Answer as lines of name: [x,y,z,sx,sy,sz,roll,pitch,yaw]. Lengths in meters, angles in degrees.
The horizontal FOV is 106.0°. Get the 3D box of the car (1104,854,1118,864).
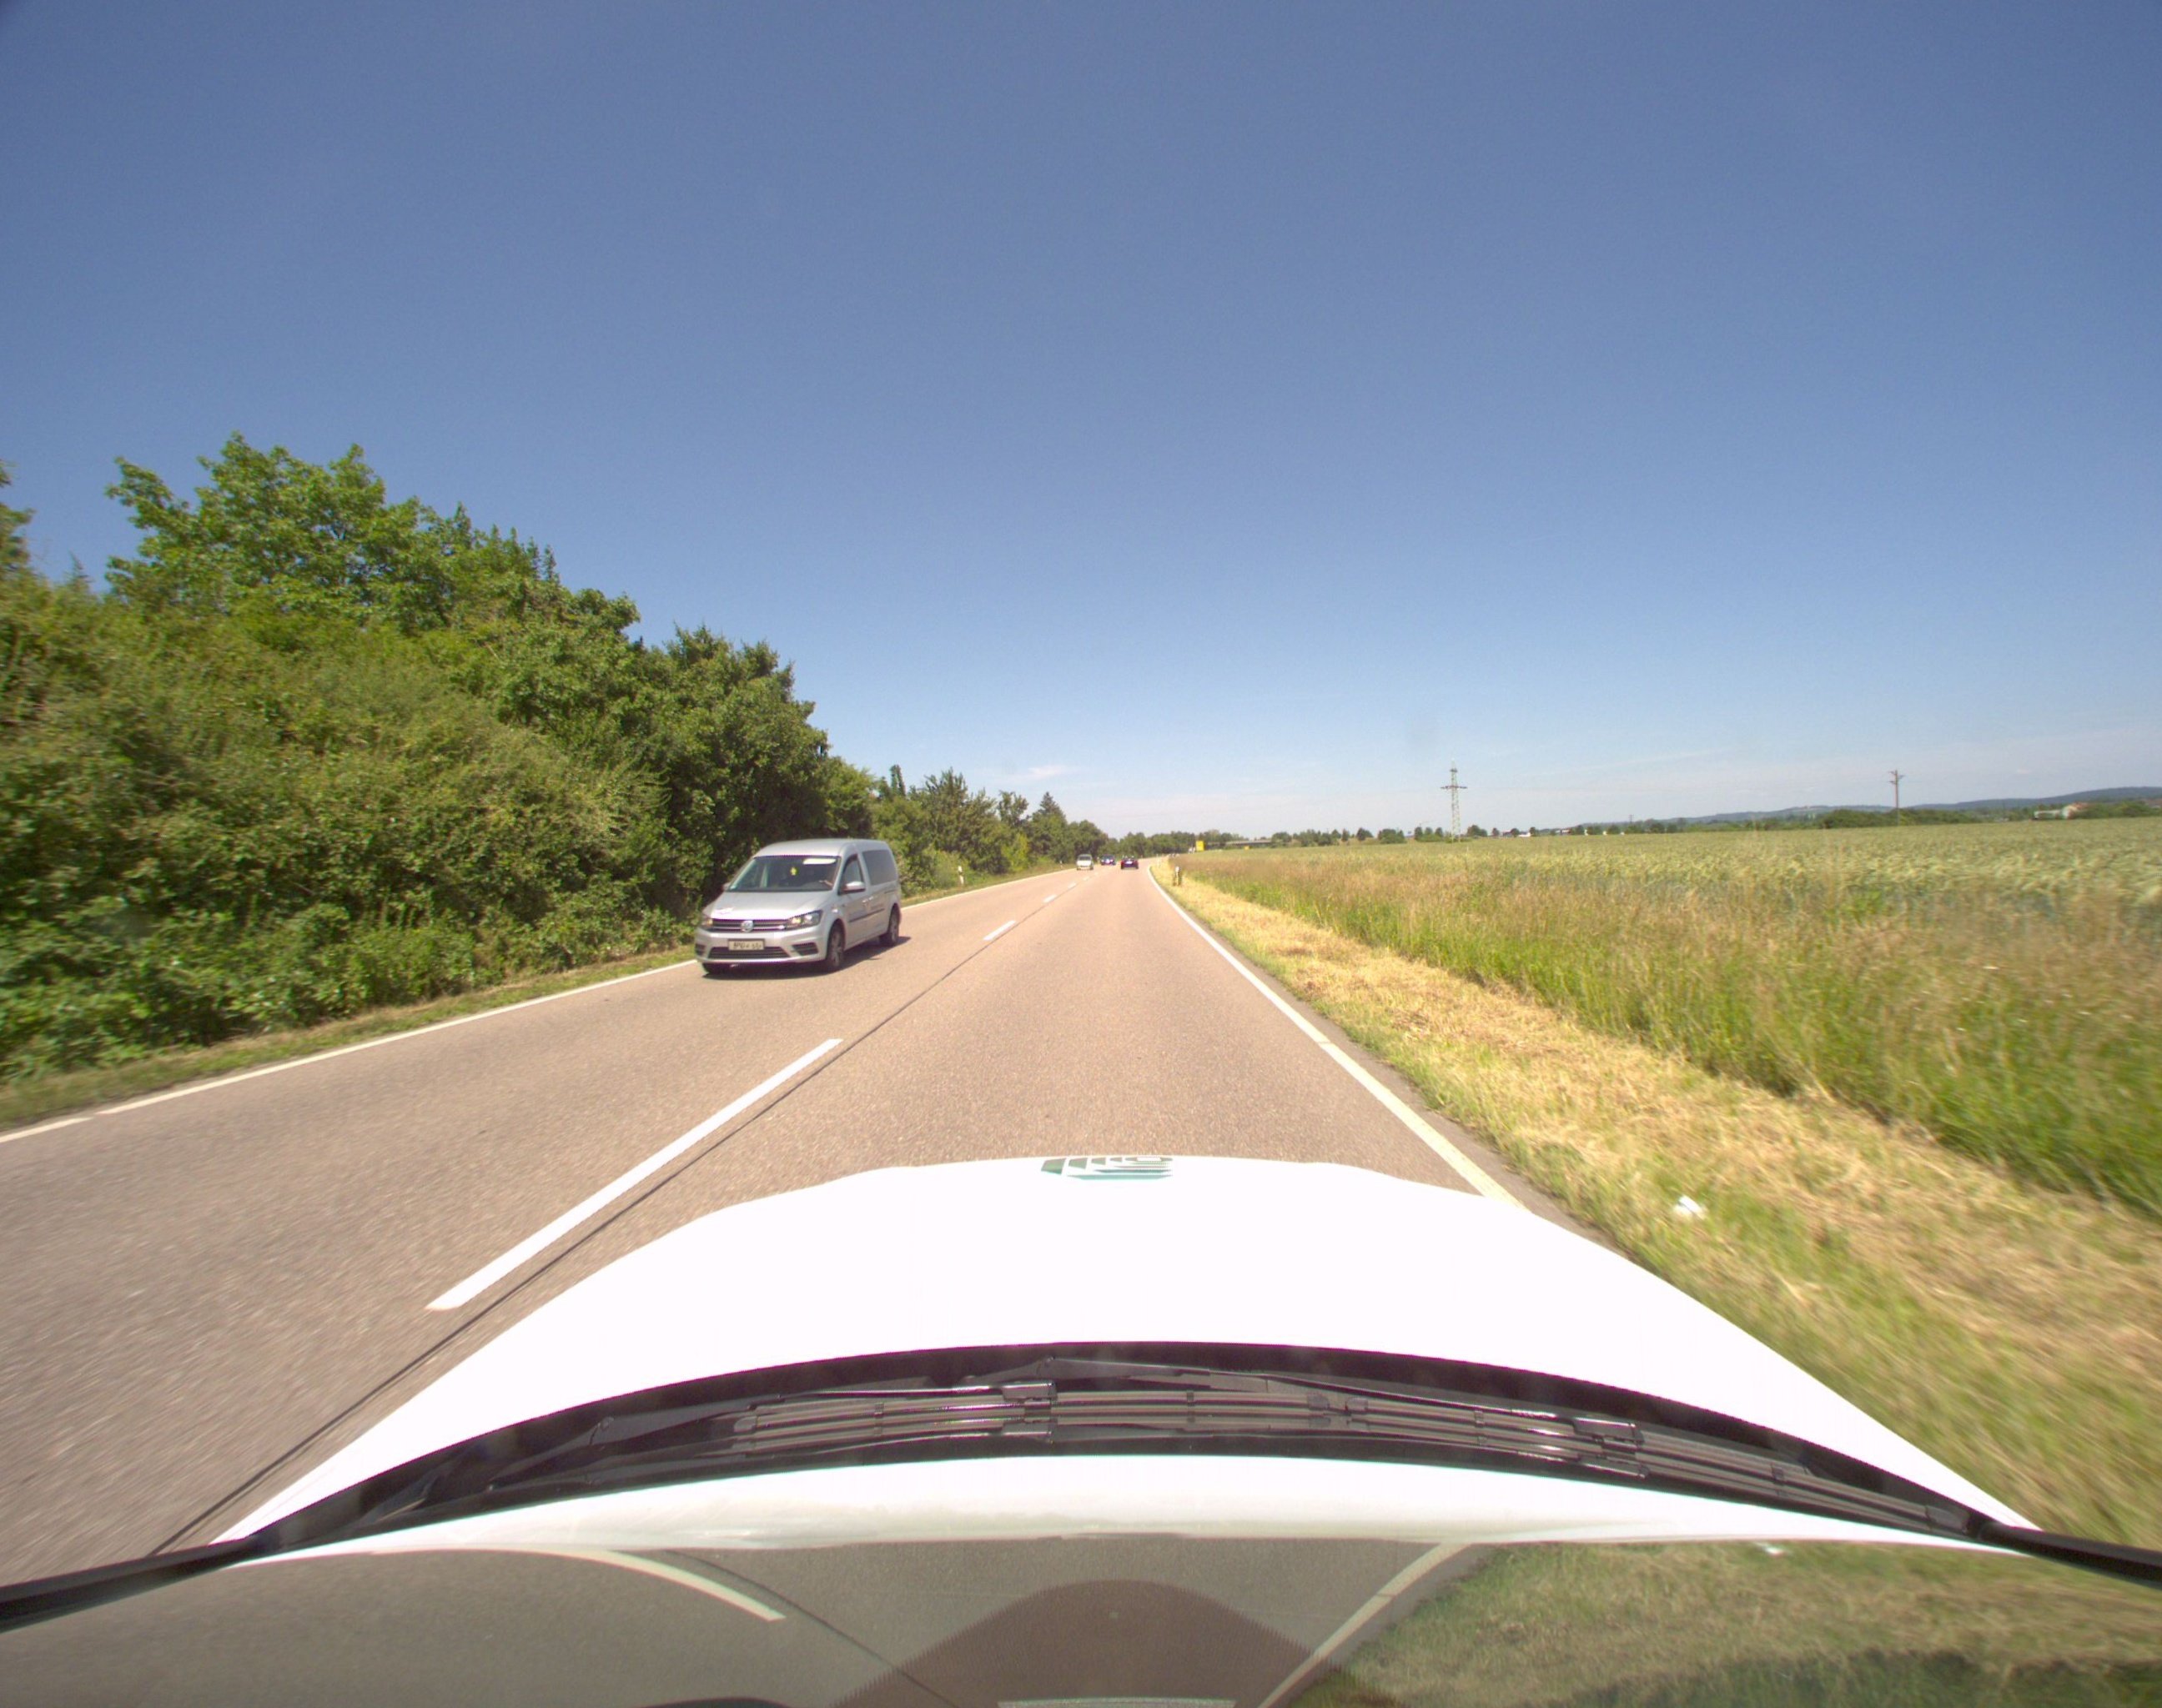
car: [4.209,0.678,113.972,1.793,1.450,4.536,-1,0,3]

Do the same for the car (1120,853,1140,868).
car: [4.927,0.679,82.047,1.805,1.441,4.007,0,0,6]

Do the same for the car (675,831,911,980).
car: [-4.082,0.639,12.537,1.756,1.819,4.806,-1,0,2]

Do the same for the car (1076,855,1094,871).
car: [0.458,0.877,81.431,1.490,1.495,3.837,-1,0,4]
